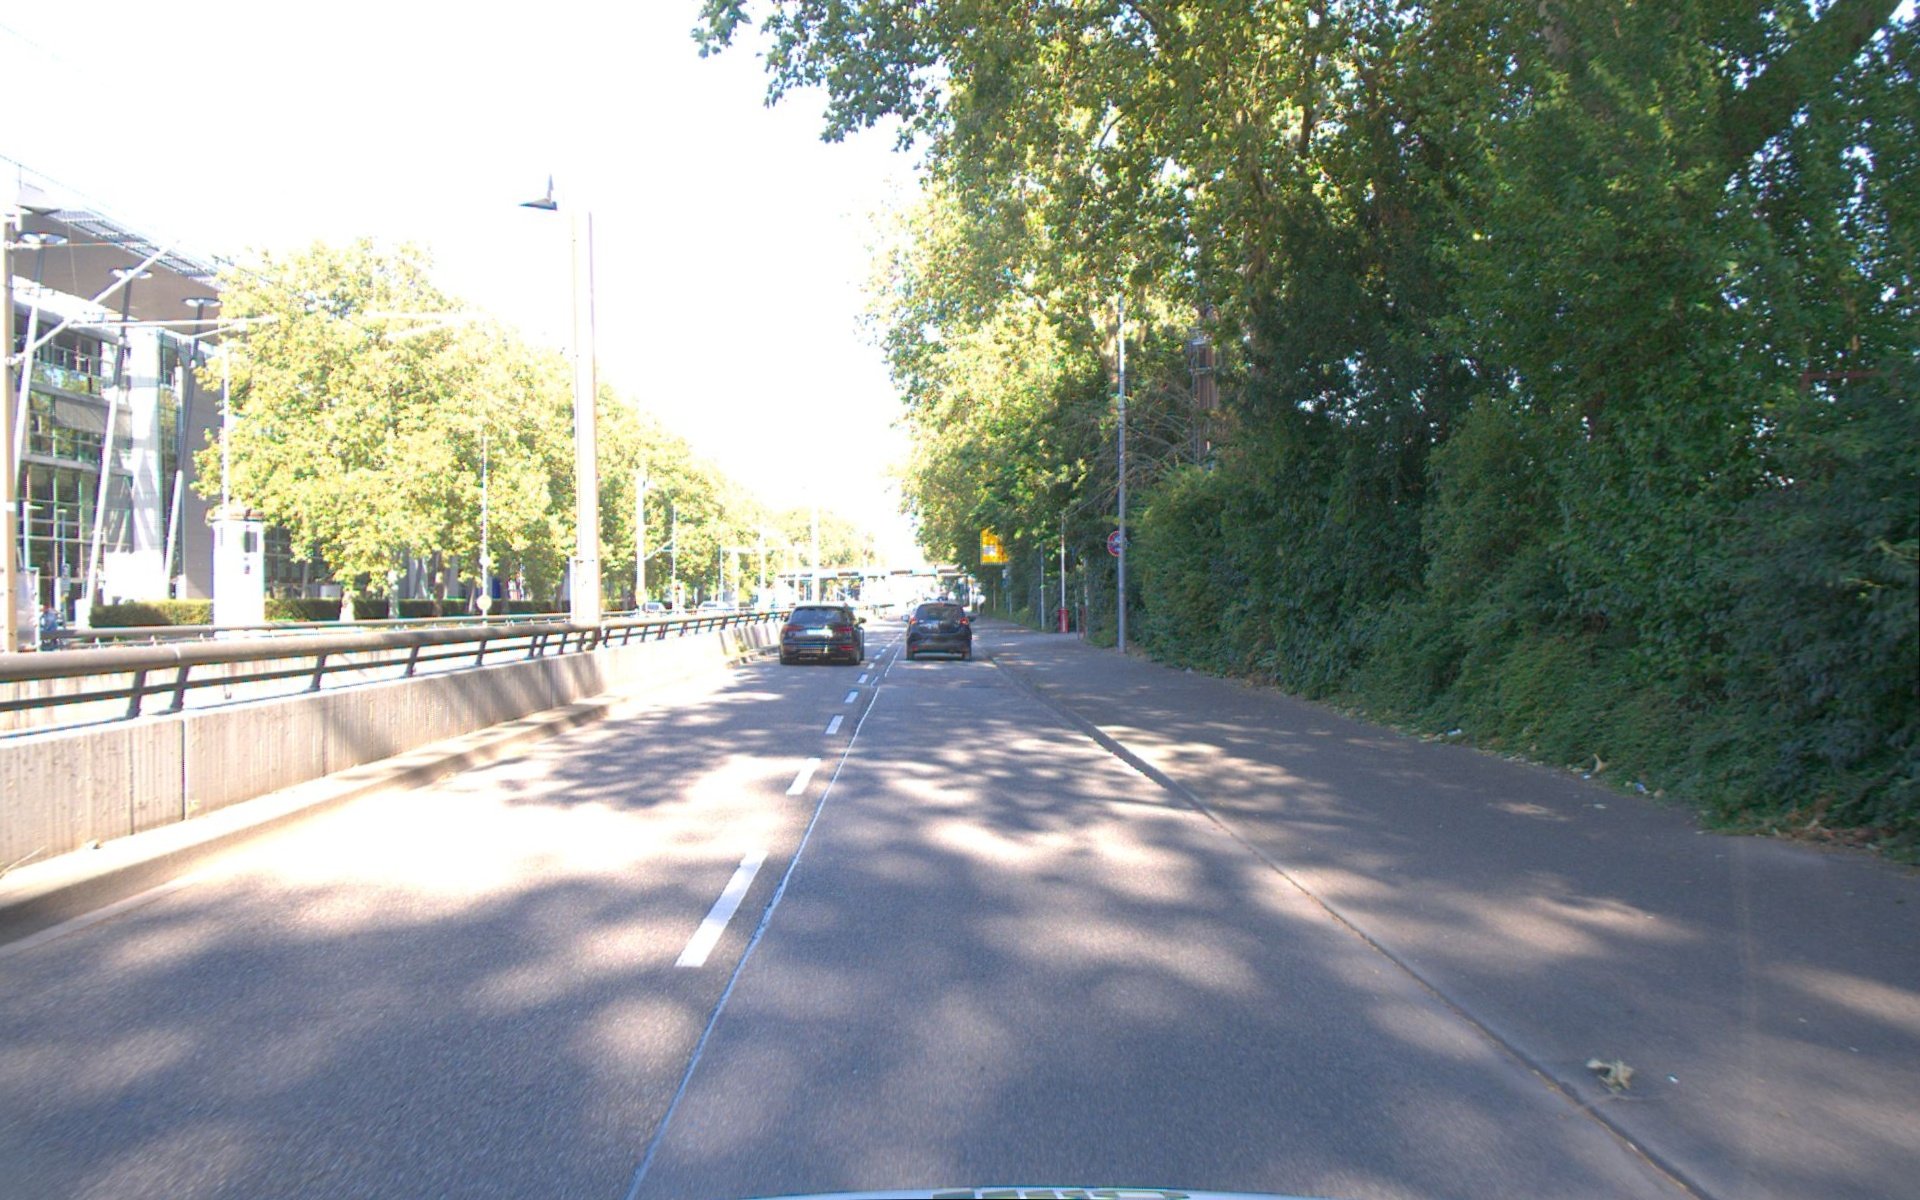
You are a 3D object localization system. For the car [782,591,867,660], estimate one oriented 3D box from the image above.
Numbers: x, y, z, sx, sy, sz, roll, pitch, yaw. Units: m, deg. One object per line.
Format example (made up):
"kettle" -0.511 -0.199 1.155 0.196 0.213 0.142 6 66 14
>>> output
"car" -3.131 0.566 38.703 1.841 1.482 3.355 1 0 -3

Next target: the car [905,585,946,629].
"car" -1.689 0.328 81.765 1.953 2.049 4.000 -1 0 0

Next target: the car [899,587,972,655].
"car" -0.684 0.499 42.851 1.727 1.647 3.998 -1 0 -3
